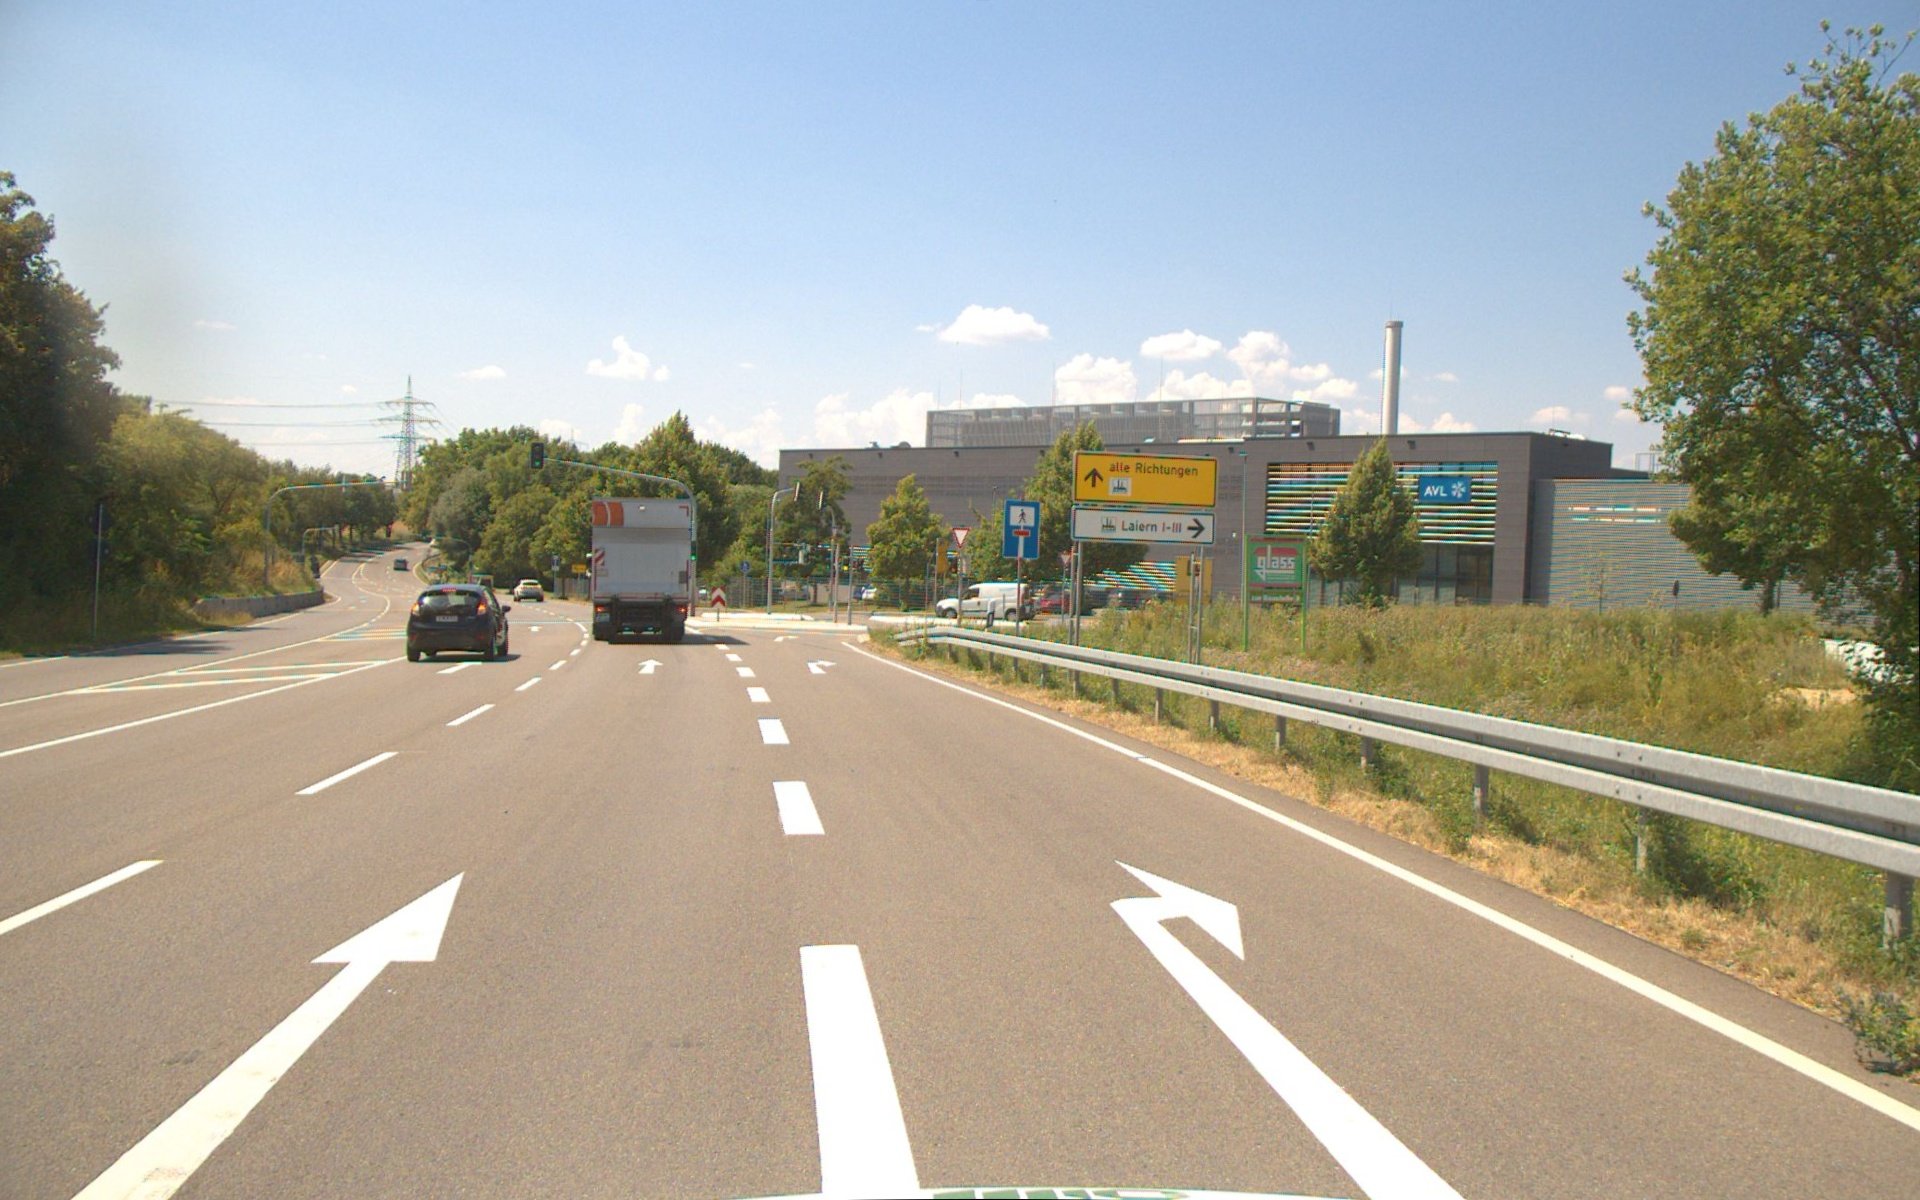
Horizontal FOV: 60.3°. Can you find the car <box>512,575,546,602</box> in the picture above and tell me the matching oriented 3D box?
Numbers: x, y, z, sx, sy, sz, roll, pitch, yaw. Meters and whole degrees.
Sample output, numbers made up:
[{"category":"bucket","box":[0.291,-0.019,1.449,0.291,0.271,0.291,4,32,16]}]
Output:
[{"category":"car","box":[-30.568,-0.815,117.267,1.915,1.693,3.977,3,0,-20]}]

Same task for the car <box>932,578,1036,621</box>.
[{"category":"car","box":[1.175,-0.035,79.924,4.644,1.966,2.155,1,0,13]}]

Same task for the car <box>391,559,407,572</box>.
[{"category":"car","box":[-79.922,-4.911,235.663,1.961,1.713,3.984,1,0,-15]}]

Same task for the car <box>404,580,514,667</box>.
[{"category":"car","box":[-10.055,0.425,33.422,1.623,1.519,4.198,1,2,-10]}]

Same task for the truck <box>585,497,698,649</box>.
[{"category":"truck","box":[-8.938,-0.780,46.164,2.754,3.775,9.082,1,1,-12]}]
